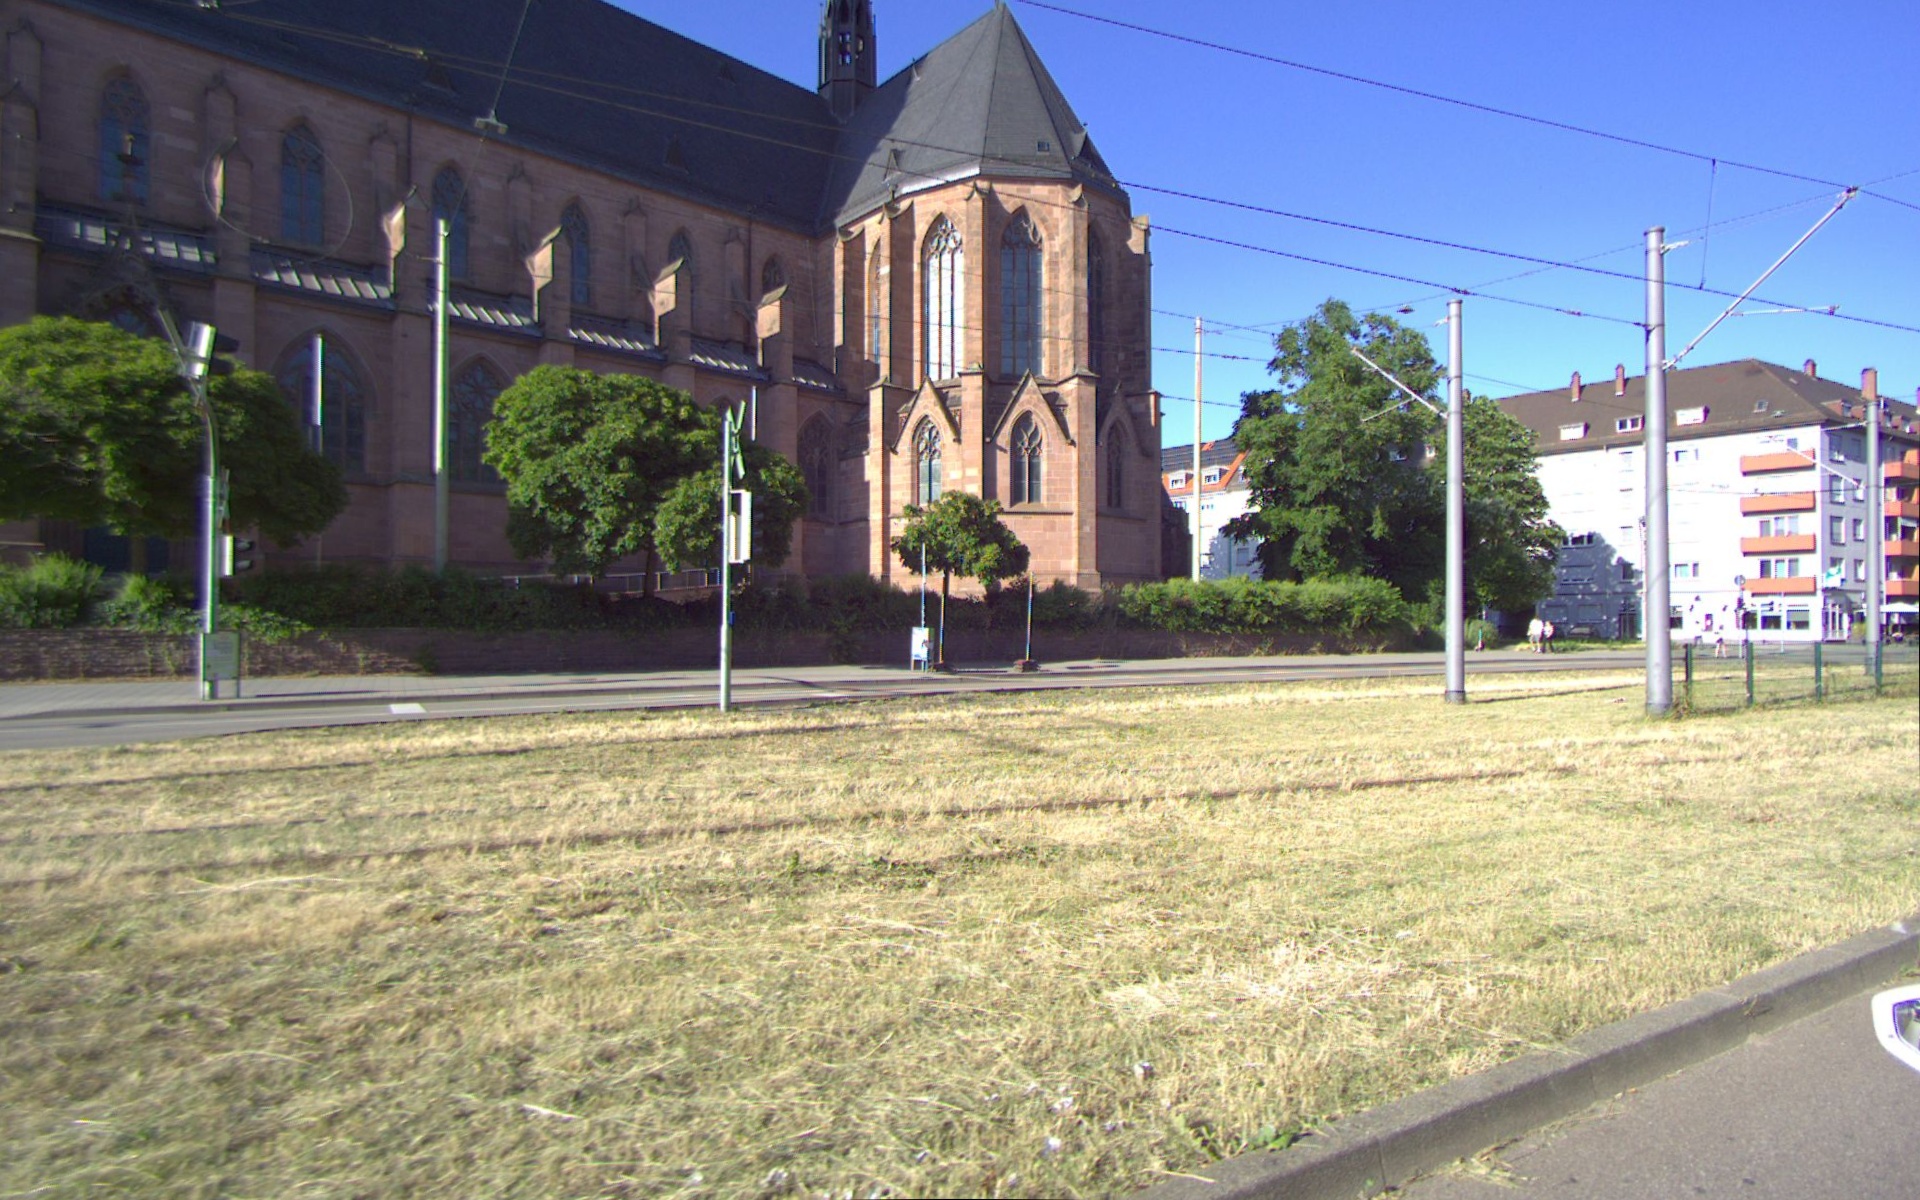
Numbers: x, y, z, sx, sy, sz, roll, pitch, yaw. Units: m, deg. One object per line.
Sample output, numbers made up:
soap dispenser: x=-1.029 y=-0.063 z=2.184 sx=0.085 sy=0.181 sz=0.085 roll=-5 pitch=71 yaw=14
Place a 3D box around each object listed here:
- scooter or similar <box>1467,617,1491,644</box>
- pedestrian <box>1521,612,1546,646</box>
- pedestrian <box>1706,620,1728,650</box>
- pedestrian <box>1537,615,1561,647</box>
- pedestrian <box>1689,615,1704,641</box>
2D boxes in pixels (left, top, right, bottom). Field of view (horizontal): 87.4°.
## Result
scooter or similar: x=25.694 y=1.504 z=49.719 sx=1.215 sy=1.278 sz=0.399 roll=-2 pitch=0 yaw=-30
pedestrian: x=28.173 y=1.436 z=49.323 sx=0.887 sy=1.619 sz=0.641 roll=-2 pitch=0 yaw=-30
pedestrian: x=38.714 y=1.788 z=51.381 sx=0.583 sy=1.487 sz=0.686 roll=-2 pitch=0 yaw=-26
pedestrian: x=28.587 y=1.486 z=48.757 sx=0.905 sy=1.487 sz=0.586 roll=-2 pitch=0 yaw=-30
pedestrian: x=43.912 y=1.666 z=59.924 sx=0.580 sy=1.487 sz=0.914 roll=-3 pitch=0 yaw=30
